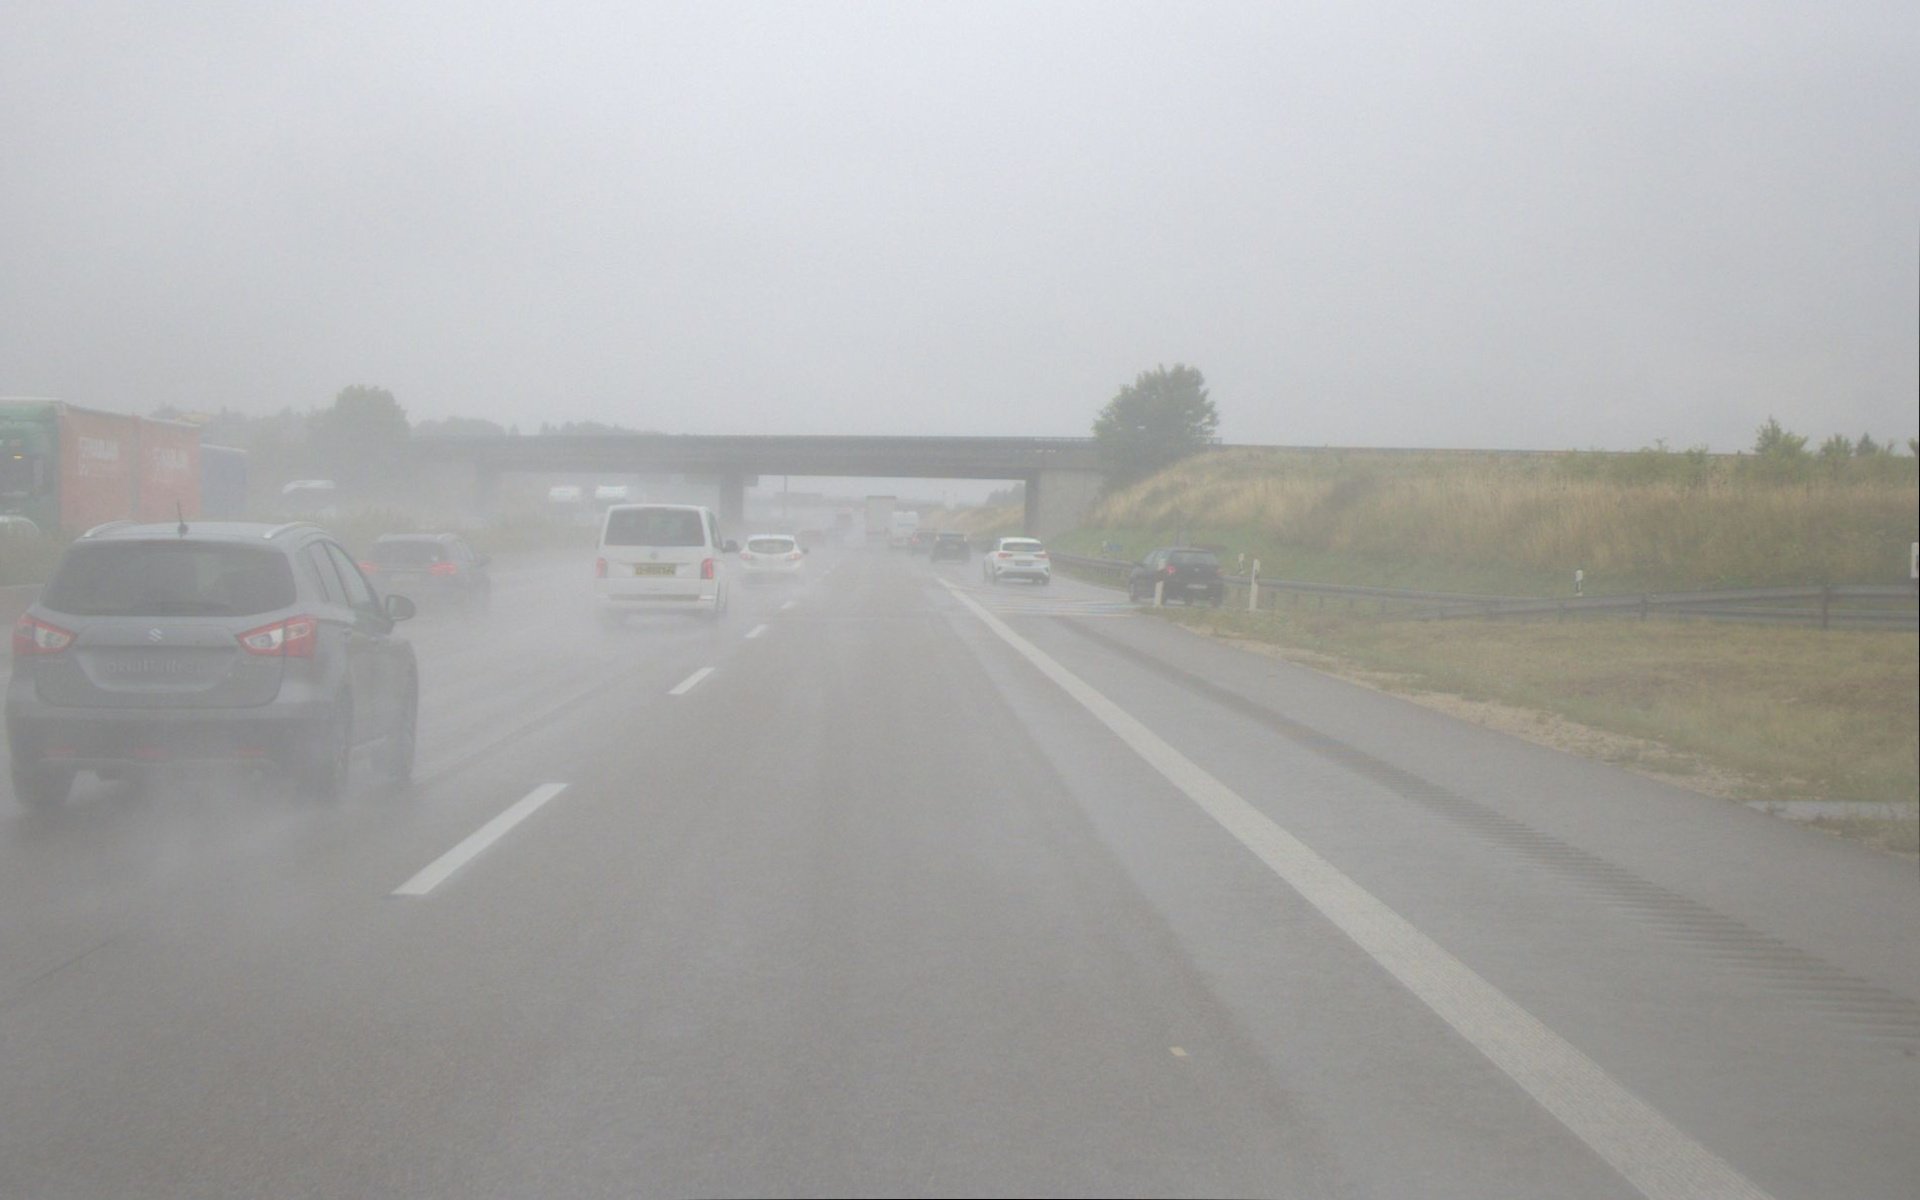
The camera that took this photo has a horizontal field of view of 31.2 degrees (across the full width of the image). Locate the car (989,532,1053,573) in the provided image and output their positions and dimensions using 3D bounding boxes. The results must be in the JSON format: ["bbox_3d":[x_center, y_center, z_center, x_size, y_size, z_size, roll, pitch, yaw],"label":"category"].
[{"bbox_3d":[1.937,-1.514,109.559,1.993,1.262,4.000,1,1,1],"label":"car"}]

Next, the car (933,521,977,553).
[{"bbox_3d":[-0.259,-2.947,160.574,1.800,1.503,4.001,0,1,-4],"label":"car"}]

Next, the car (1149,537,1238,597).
[{"bbox_3d":[5.862,-0.849,86.615,1.731,1.416,3.659,1,1,-4],"label":"car"}]

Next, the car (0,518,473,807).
[{"bbox_3d":[-4.202,0.284,20.432,1.846,1.508,4.756,0,1,1],"label":"car"}]

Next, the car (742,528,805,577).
[{"bbox_3d":[-4.845,-1.235,89.653,1.468,1.204,2.991,3,1,0],"label":"car"}]

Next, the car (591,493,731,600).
[{"bbox_3d":[-4.642,-0.832,53.814,1.897,1.580,4.000,1,1,-1],"label":"car"}]

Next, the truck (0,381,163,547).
[{"bbox_3d":[-20.326,-2.927,76.029,3.265,3.429,10.131,0,1,-1],"label":"truck"}]

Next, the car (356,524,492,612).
[{"bbox_3d":[-8.675,-0.530,55.904,1.612,1.349,4.000,1,1,-1],"label":"car"}]

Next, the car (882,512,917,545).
[{"bbox_3d":[-3.839,-4.540,217.710,1.993,2.094,4.001,0,1,-4],"label":"car"}]
